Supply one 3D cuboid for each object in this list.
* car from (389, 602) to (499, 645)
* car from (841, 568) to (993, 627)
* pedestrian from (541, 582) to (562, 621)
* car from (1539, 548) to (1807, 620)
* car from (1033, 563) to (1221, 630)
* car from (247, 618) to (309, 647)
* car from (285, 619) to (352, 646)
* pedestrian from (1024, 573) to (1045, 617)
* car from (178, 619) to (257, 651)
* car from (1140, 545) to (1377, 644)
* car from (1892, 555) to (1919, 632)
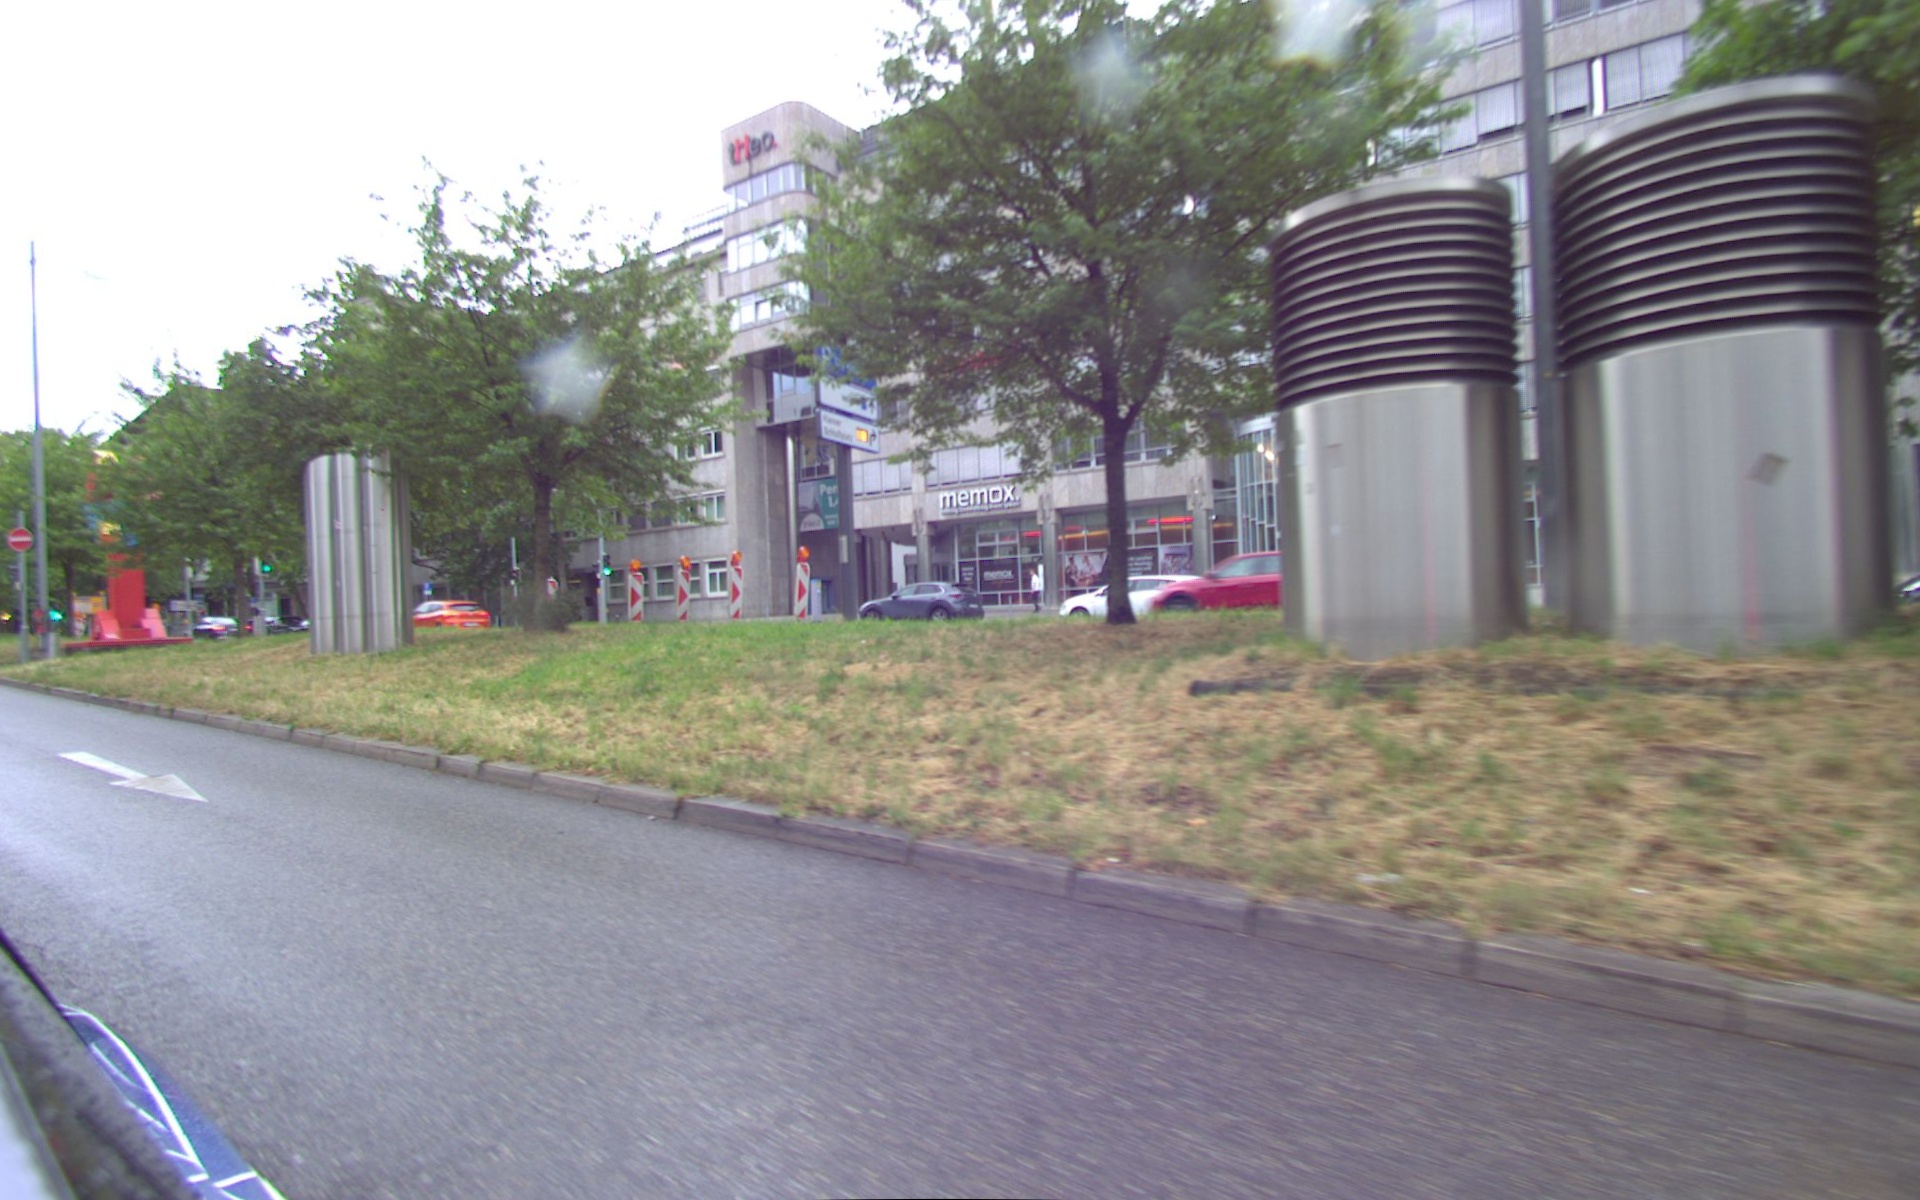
[{"bbox_3d":[-18.657,0.857,36.547,4.123,1.440,1.845,-2,-1,36],"label":"car"},{"bbox_3d":[-1.445,-0.058,32.580,4.785,1.738,1.844,-2,0,38],"label":"car"},{"bbox_3d":[-17.943,0.066,44.446,0.619,1.641,0.599,-2,0,41],"label":"pedestrian"},{"bbox_3d":[15.001,-0.300,21.590,4.464,1.335,1.876,-2,0,34],"label":"car"},{"bbox_3d":[4.598,-0.051,28.243,4.905,1.634,1.759,-2,-1,38],"label":"car"},{"bbox_3d":[-41.924,1.988,62.171,4.460,1.634,1.844,-2,-1,38],"label":"car"},{"bbox_3d":[-37.595,1.915,59.271,4.559,1.440,1.844,-2,-1,38],"label":"car"},{"bbox_3d":[3.095,-0.205,42.096,0.527,1.801,0.714,-2,0,31],"label":"pedestrian"},{"bbox_3d":[-36.460,1.719,49.681,4.557,1.440,1.845,-2,-1,36],"label":"car"},{"bbox_3d":[5.716,-0.069,19.465,3.987,1.713,1.930,-2,0,32],"label":"car"},{"bbox_3d":[19.816,-0.189,18.360,4.007,1.412,1.760,-2,-1,35],"label":"car"}]
